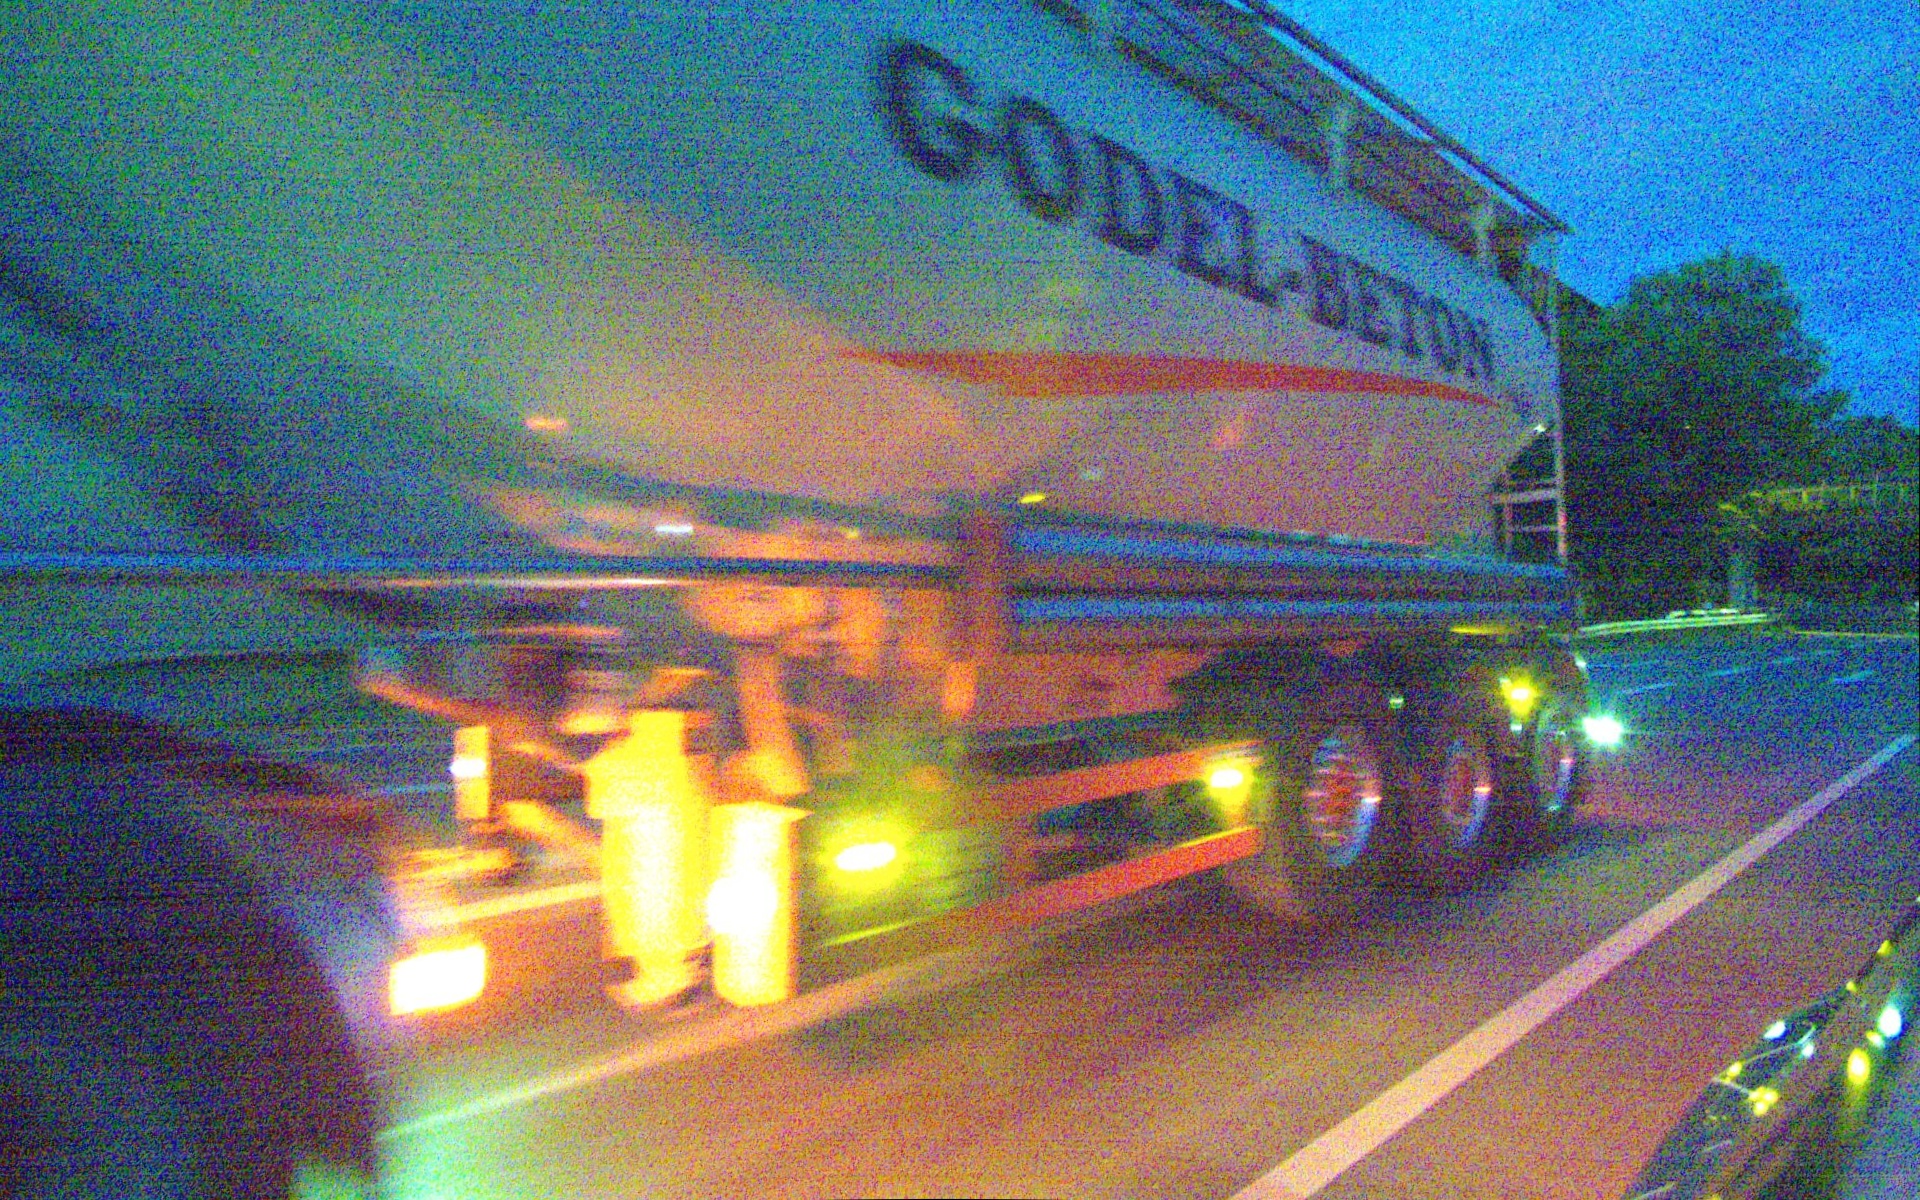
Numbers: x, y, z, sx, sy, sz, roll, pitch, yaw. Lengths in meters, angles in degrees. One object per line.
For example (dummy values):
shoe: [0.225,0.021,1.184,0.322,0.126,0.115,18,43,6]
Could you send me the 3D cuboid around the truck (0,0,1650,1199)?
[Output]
truck: [-1.252,-0.699,3.277,12.913,4.158,2.692,-1,1,-41]
